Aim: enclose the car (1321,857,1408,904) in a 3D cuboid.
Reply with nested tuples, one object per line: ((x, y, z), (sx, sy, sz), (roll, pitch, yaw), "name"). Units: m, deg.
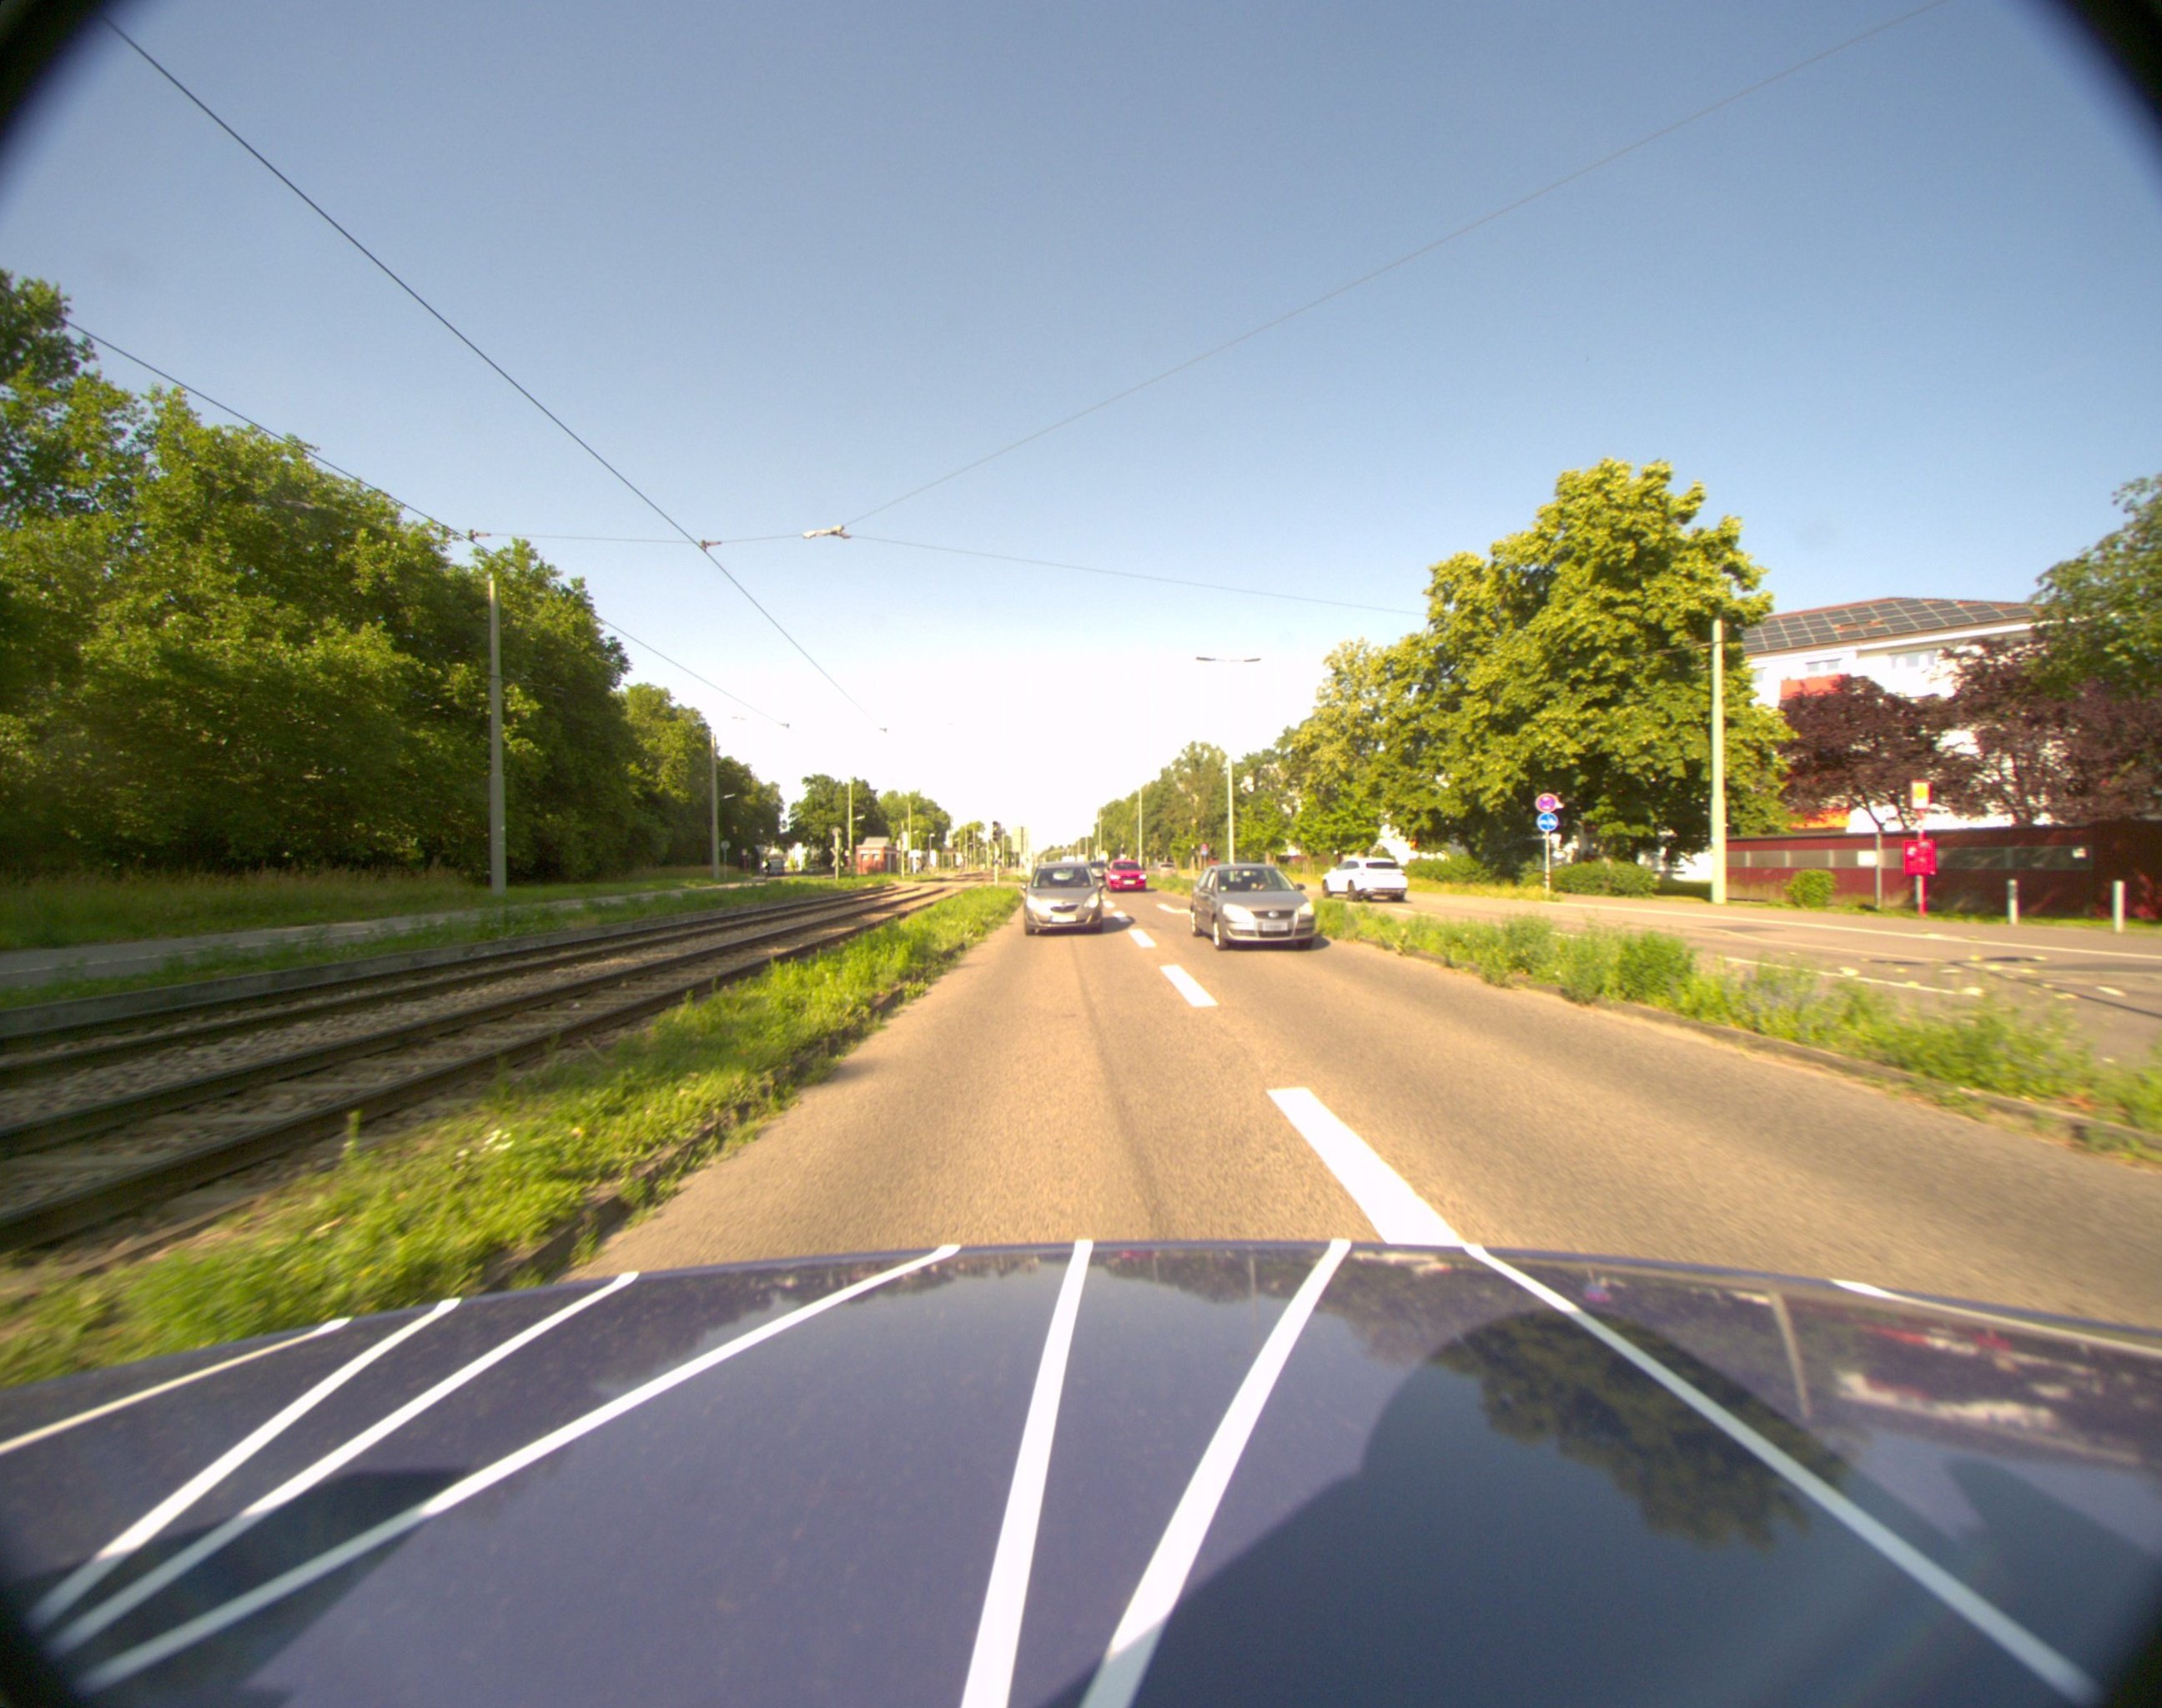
((10.809, 0.966, 29.276), (1.664, 1.669, 4.515), (1, 0, 0), "car")

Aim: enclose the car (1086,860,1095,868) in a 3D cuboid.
((1.937, 2.072, 157.393), (1.774, 1.669, 4.049), (1, 0, -2), "car")

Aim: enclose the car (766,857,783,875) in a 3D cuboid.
((-44.038, 1.742, 109.095), (1.863, 2.506, 3.853), (-3, 0, -27), "car")

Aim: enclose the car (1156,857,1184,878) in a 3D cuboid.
((7.607, 1.145, 65.405), (1.774, 1.669, 4.049), (1, 0, -2), "car")

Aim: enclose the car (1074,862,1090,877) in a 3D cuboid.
((0.077, 1.848, 89.547), (1.774, 1.669, 4.049), (1, 0, -2), "car")

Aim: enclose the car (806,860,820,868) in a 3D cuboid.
((-47.552, 1.832, 134.759), (1.809, 1.384, 3.776), (0, 0, -28), "car")

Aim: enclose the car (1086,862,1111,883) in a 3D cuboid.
((1.340, 1.443, 60.232), (1.710, 1.513, 3.833), (-2, 0, -2), "car")

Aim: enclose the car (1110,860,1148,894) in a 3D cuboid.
((2.399, 1.140, 38.599), (1.692, 1.573, 3.833), (-2, 0, 0), "car")

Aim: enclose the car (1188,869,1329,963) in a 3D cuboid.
((3.090, 1.023, 13.988), (1.692, 1.420, 3.833), (-2, 0, 0), "car")

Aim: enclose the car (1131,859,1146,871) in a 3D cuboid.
((8.350, 1.558, 110.517), (1.774, 1.669, 4.049), (1, 0, -2), "car")

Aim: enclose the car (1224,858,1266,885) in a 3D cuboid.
((10.812, 1.123, 50.283), (1.774, 1.669, 4.049), (1, 0, -2), "car")

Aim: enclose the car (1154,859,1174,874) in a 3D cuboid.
((9.644, 1.476, 88.348), (1.774, 1.669, 4.049), (1, 0, -2), "car")

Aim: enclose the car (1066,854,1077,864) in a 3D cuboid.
((-1.498, 0.736, 119.687), (1.710, 1.513, 3.833), (-2, 0, -2), "car")

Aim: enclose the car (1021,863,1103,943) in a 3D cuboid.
((-0.414, 1.044, 17.733), (1.650, 1.581, 3.833), (-2, 0, -1), "car")
